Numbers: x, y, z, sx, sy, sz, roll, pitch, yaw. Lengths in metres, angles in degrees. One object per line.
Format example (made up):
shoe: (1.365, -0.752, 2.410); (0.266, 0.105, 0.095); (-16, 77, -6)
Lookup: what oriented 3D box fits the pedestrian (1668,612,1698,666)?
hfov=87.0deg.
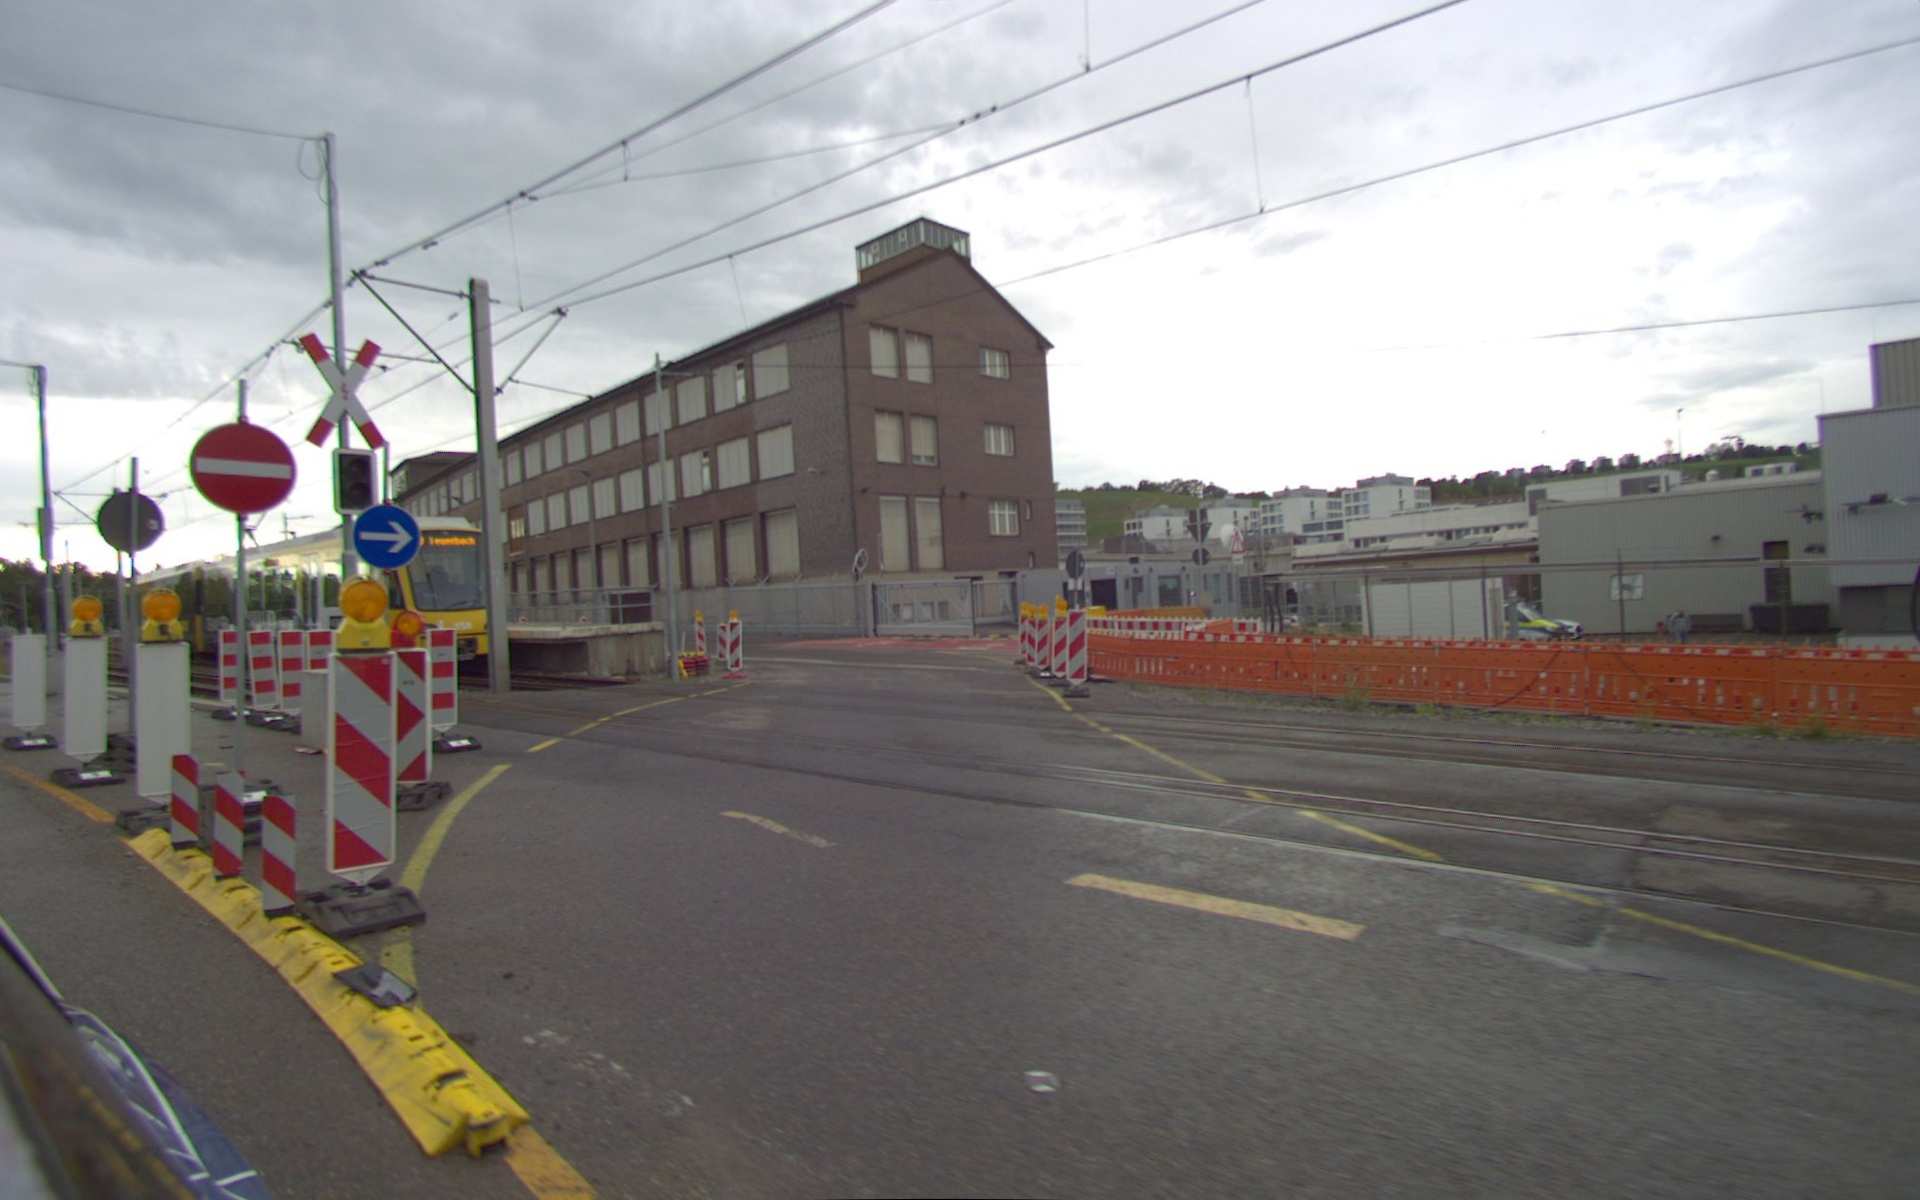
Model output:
pedestrian: (24.884, 1.335, 34.837); (0.762, 1.804, 0.700); (-2, -1, 38)

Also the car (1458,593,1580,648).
car: (21.527, 0.772, 39.028); (3.985, 2.029, 1.979); (-1, 0, 31)

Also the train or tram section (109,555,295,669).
train or tram section: (-32.578, 0.628, 42.800); (19.574, 3.915, 2.923); (-2, 1, 44)

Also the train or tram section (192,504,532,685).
train or tram section: (-18.357, 0.099, 29.511); (19.287, 3.915, 2.924); (-2, 1, 43)
